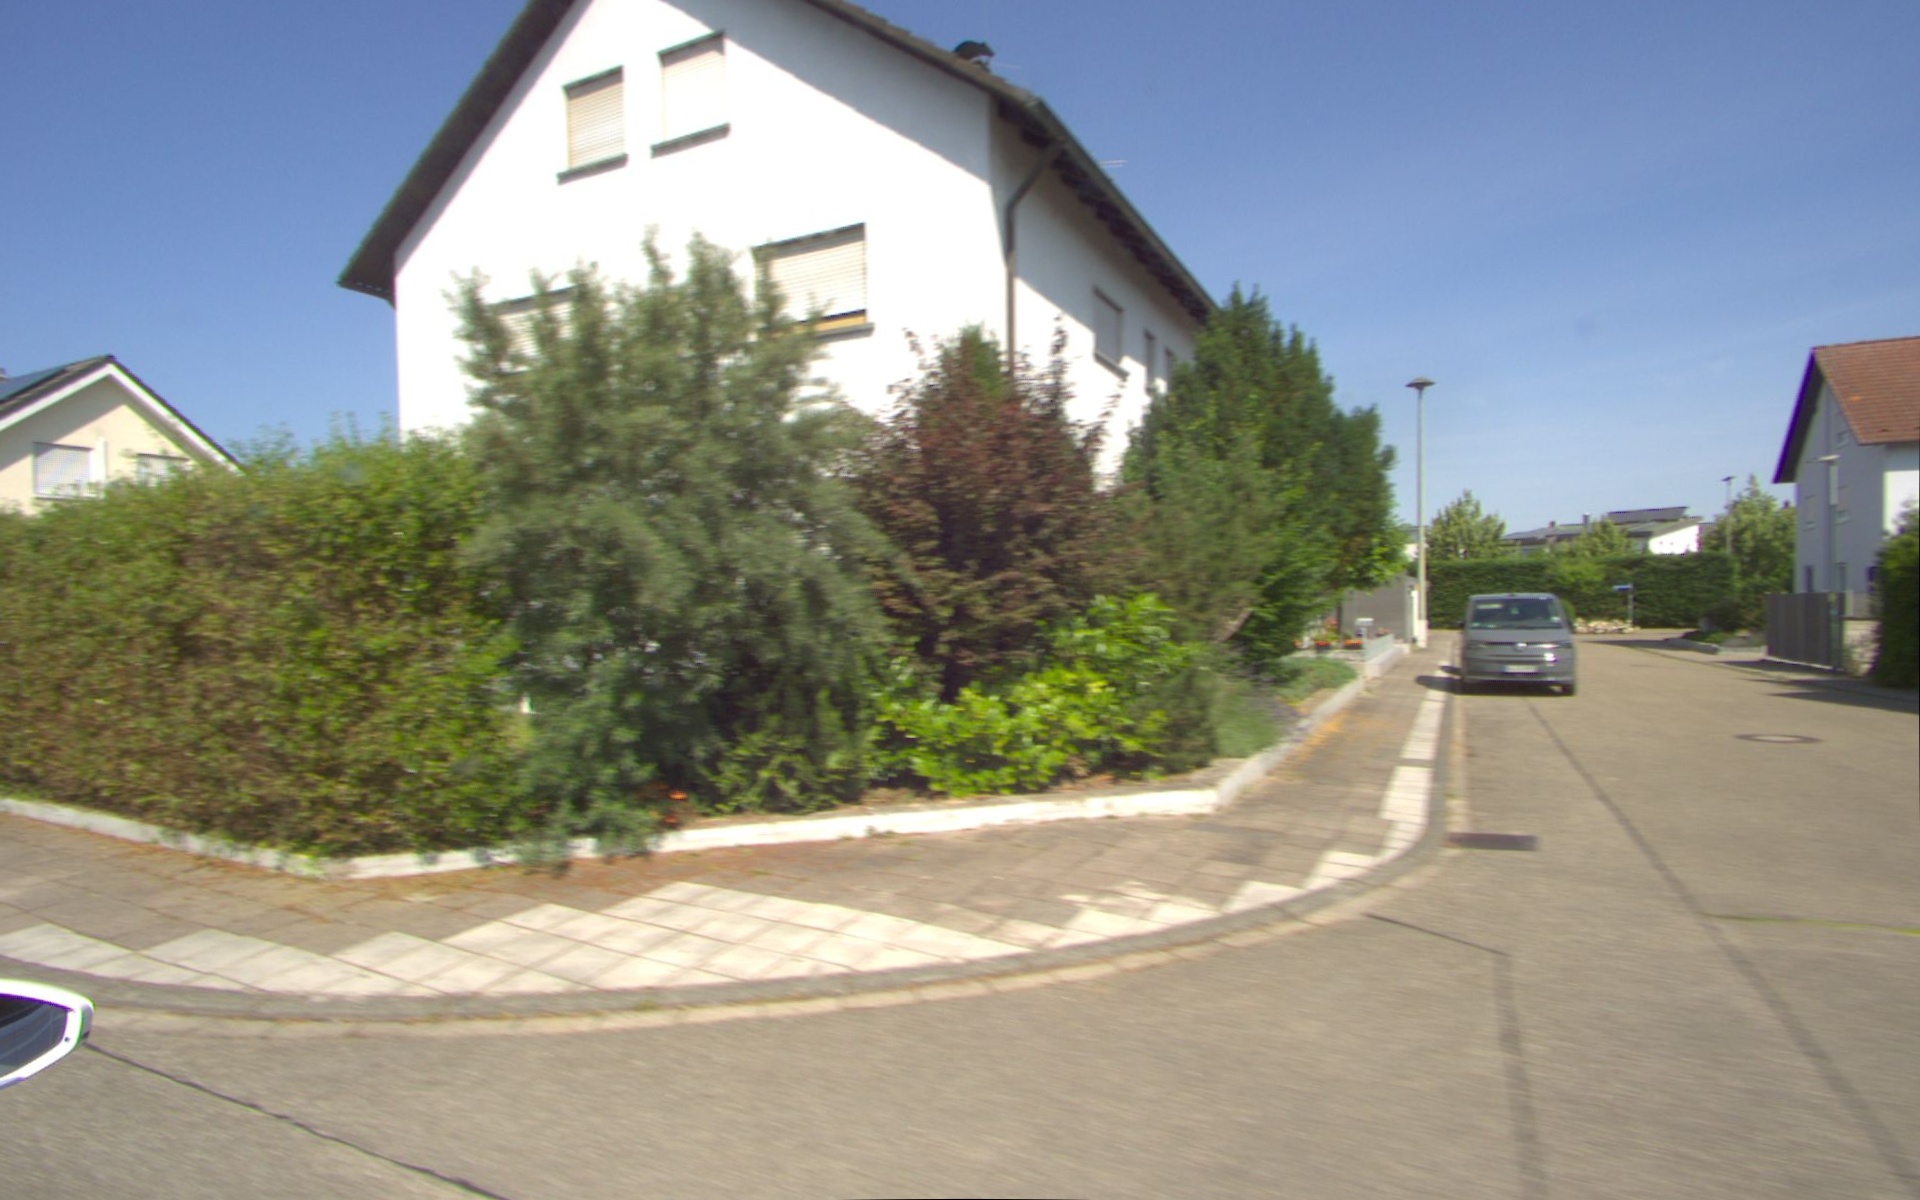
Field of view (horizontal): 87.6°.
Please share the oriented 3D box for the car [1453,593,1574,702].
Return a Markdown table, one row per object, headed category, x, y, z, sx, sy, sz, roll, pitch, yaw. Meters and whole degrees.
| category | x | y | z | sx | sy | sz | roll | pitch | yaw |
| --- | --- | --- | --- | --- | --- | --- | --- | --- | --- |
| car | 10.875 | 0.835 | 19.770 | 1.878 | 1.894 | 4.352 | -1 | 0 | 29 |
